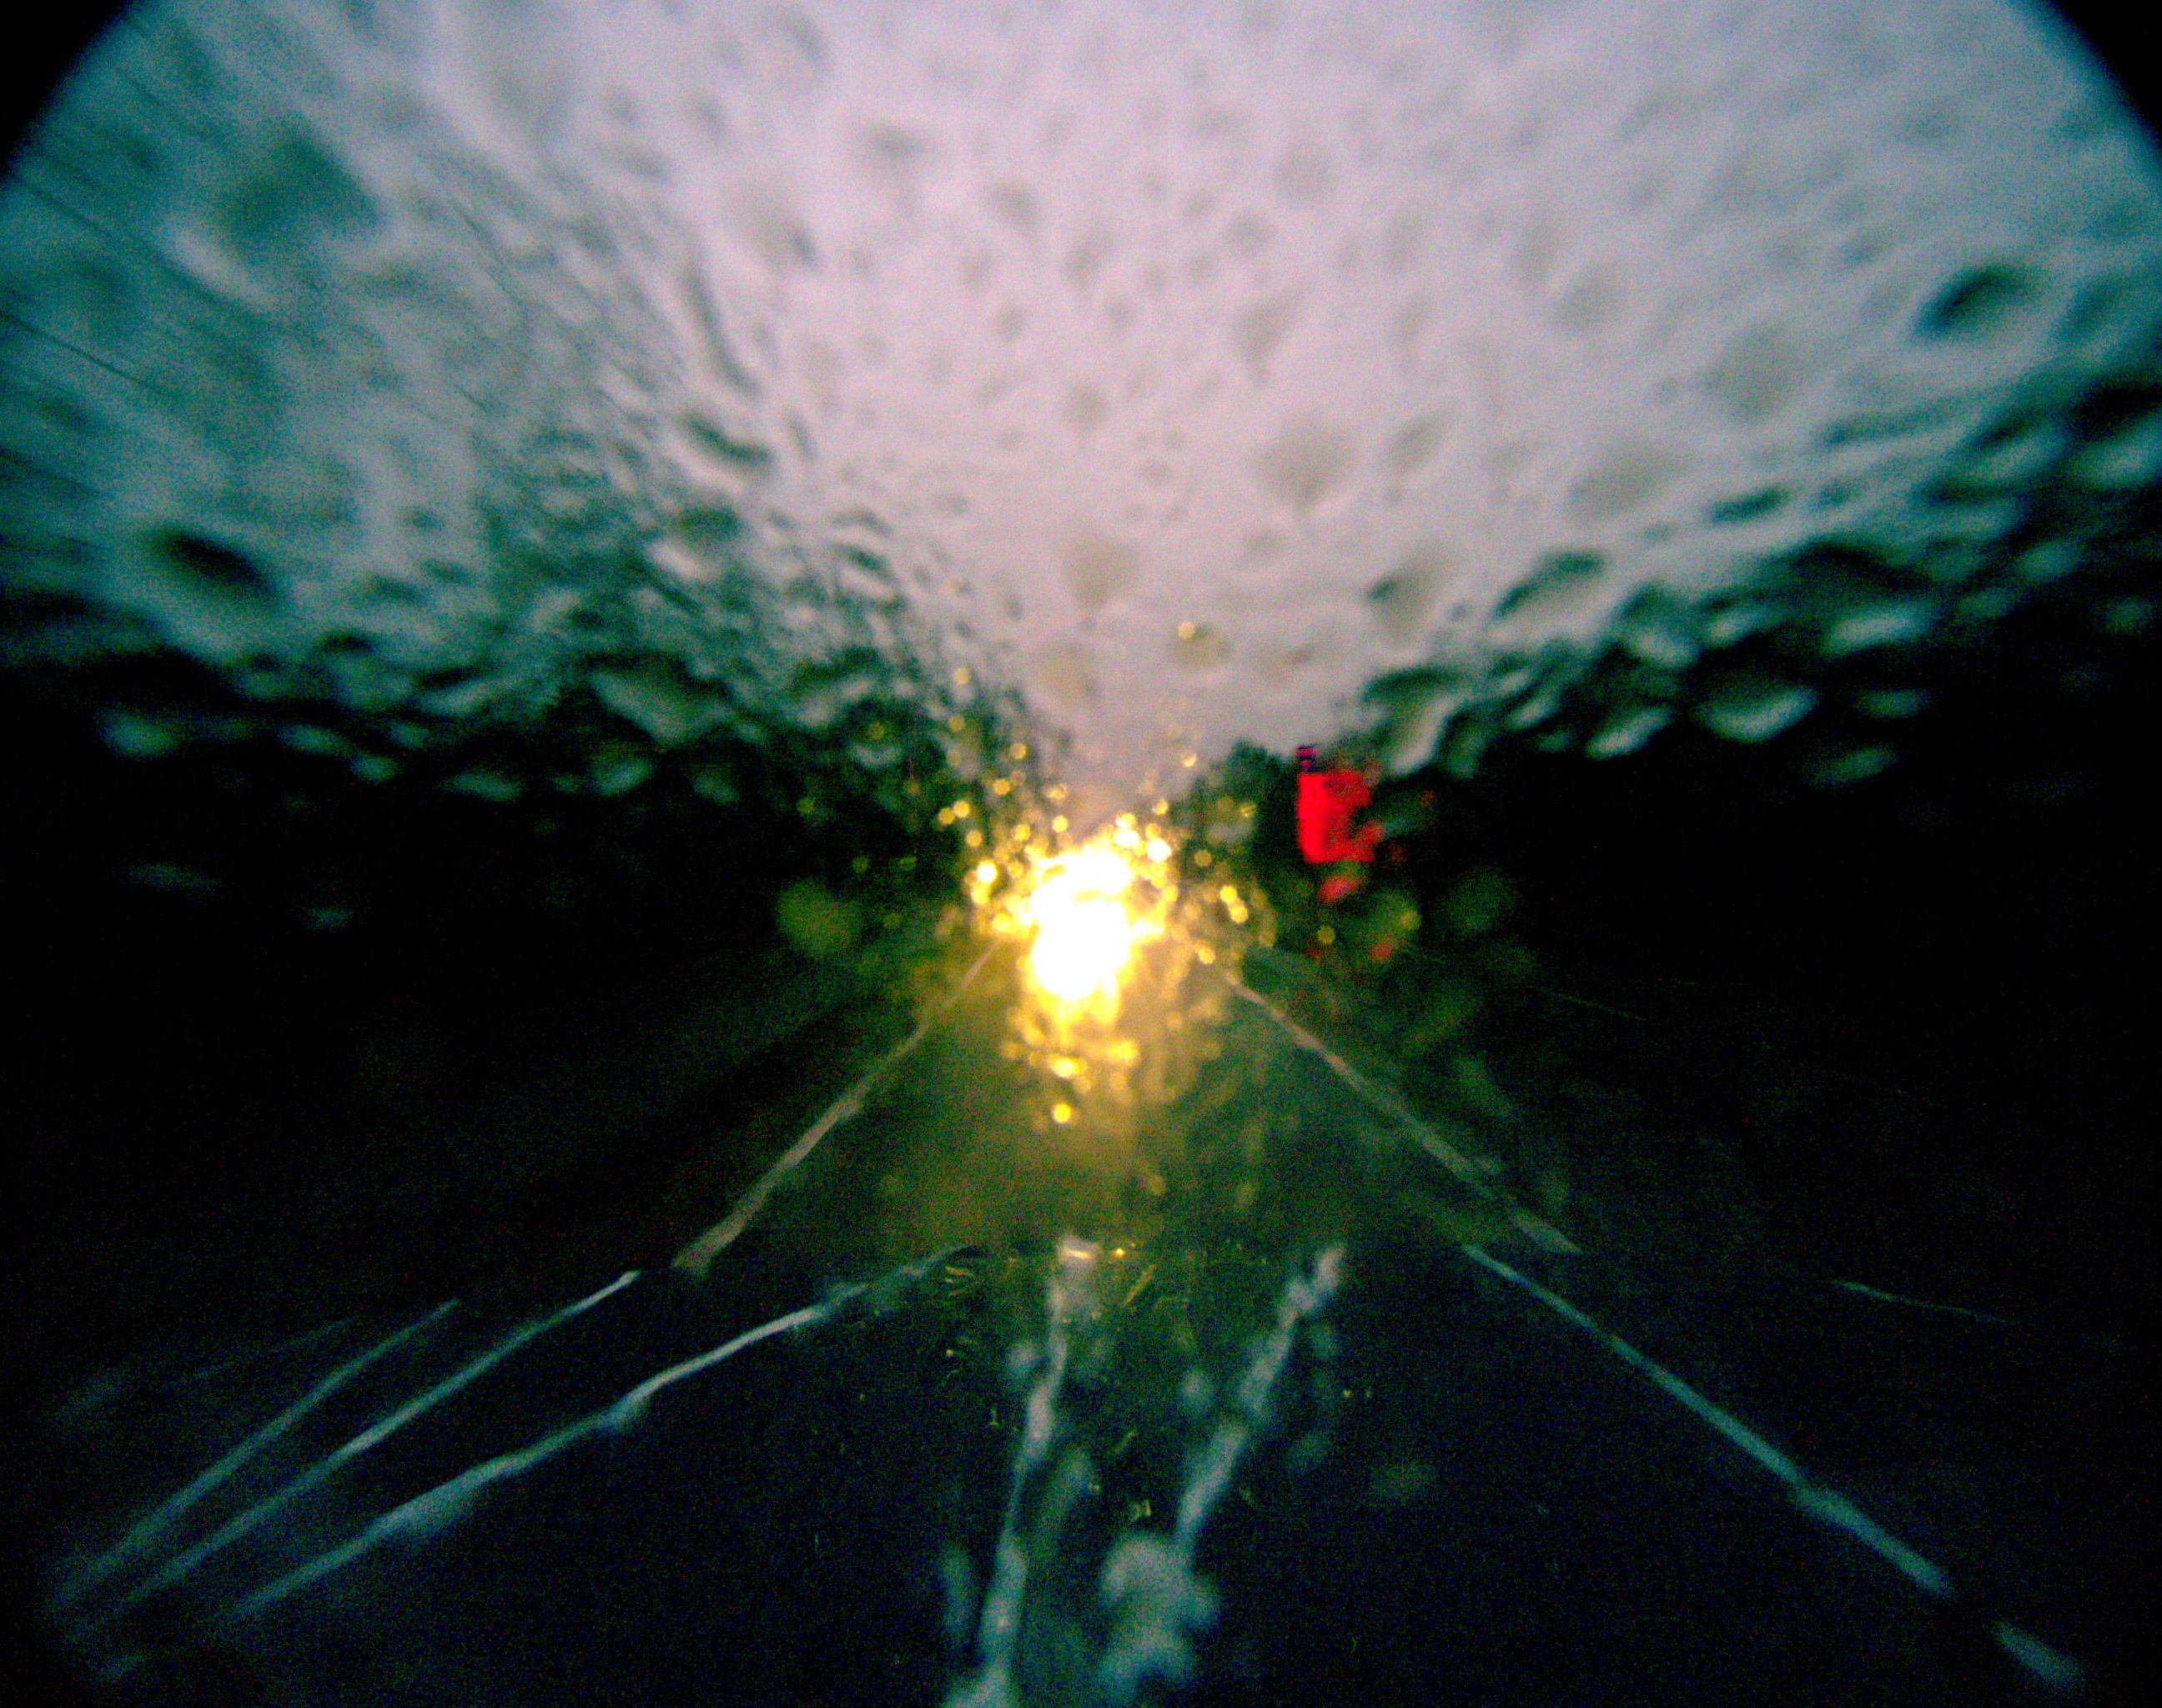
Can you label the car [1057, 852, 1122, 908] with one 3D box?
[{"bbox_3d":[0.270,0.816,26.207,1.998,1.672,3.999,-2,1,0],"label":"car"}]
